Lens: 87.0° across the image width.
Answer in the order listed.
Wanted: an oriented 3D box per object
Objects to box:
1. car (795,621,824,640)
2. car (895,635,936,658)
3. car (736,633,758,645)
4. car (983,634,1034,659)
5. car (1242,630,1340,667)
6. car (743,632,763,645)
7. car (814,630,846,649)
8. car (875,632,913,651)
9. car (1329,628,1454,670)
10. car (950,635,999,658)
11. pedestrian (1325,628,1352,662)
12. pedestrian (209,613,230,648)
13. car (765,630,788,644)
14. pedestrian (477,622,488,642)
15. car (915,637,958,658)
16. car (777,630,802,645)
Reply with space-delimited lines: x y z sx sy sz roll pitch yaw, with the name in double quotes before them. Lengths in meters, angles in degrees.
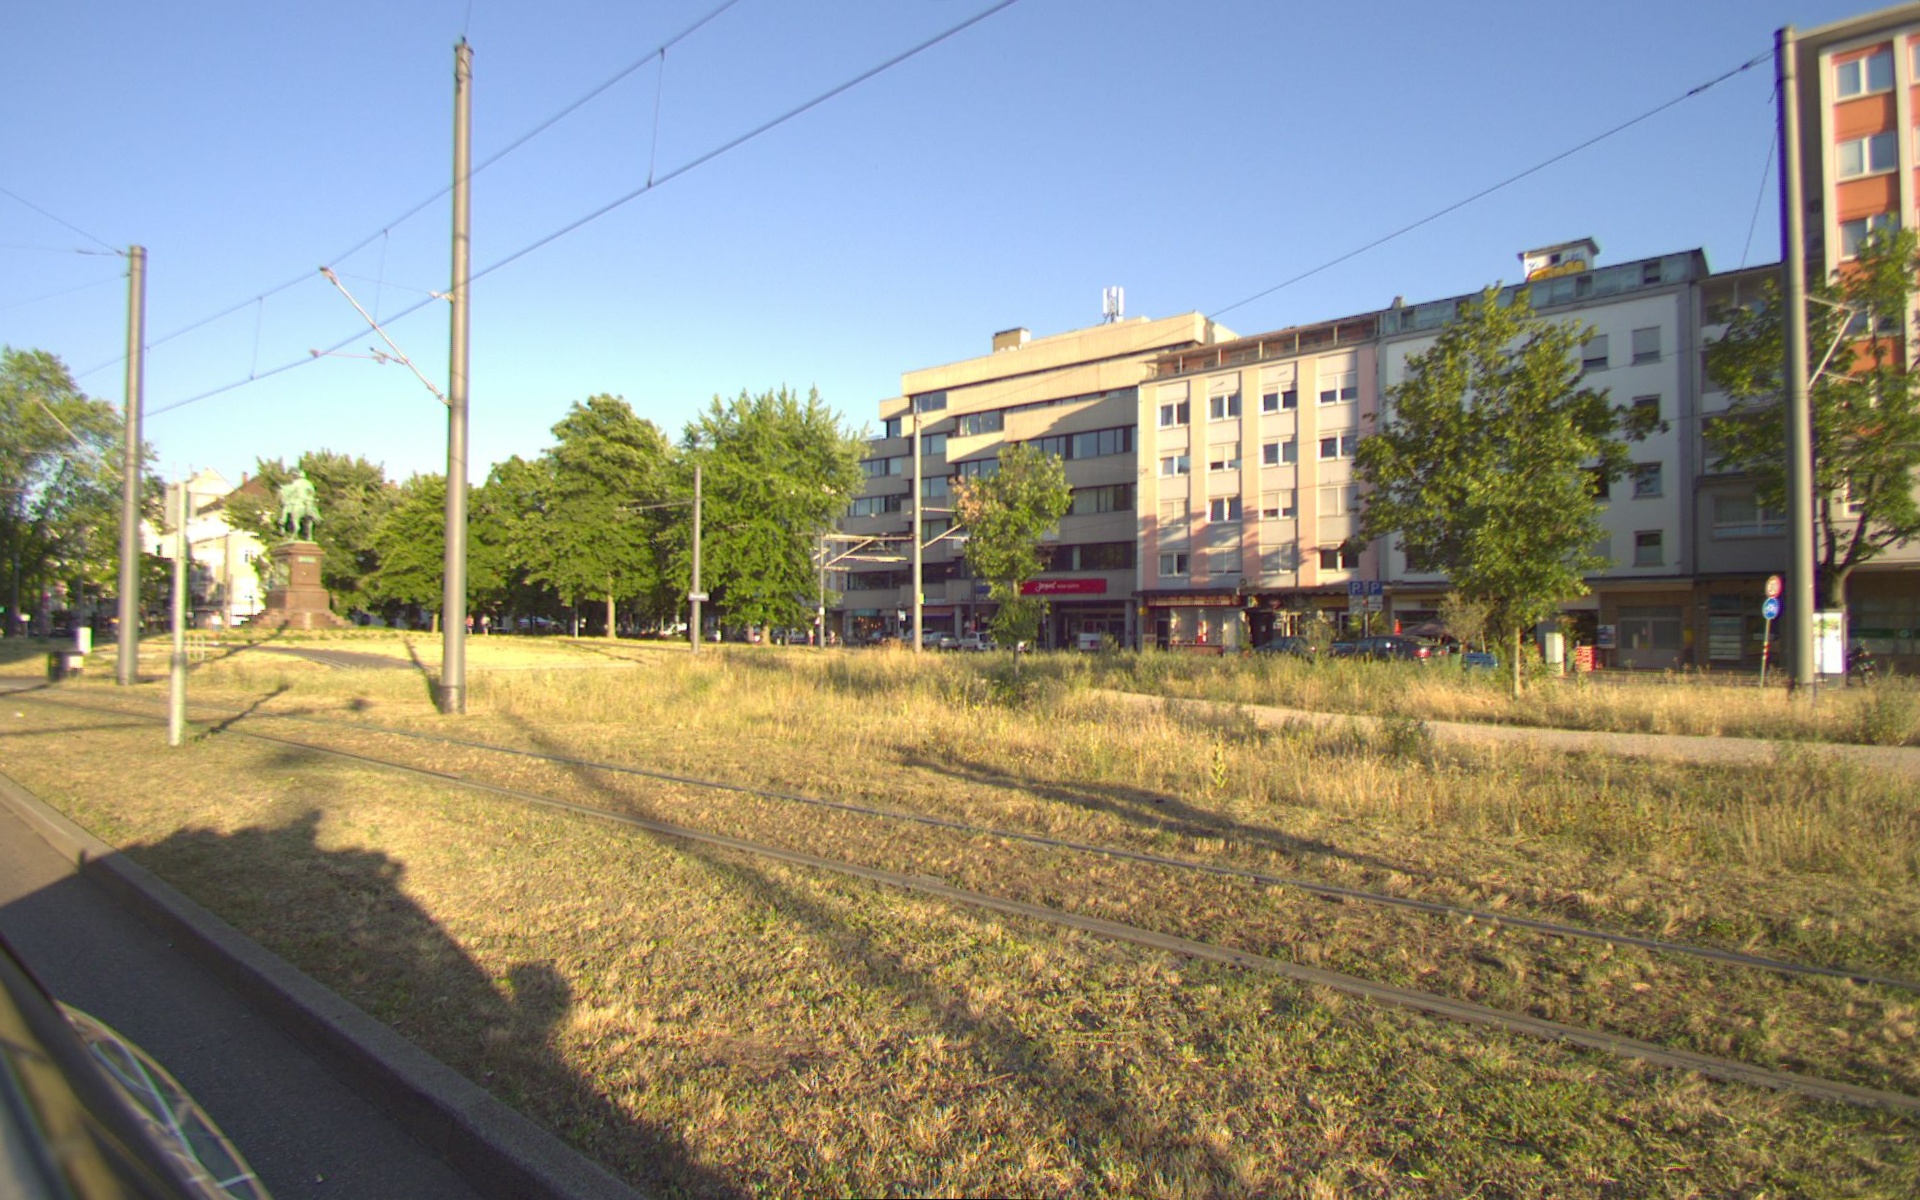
"car" -16.033 3.252 107.743 1.729 1.959 4.222 1 -3 -27
"car" -3.641 3.801 82.328 1.729 1.808 4.222 1 -3 -27
"car" -25.067 4.593 119.065 1.681 1.401 4.013 1 -3 -25
"car" 3.161 3.079 66.950 1.729 1.564 4.013 0 -3 -24
"car" 14.425 2.133 44.314 1.729 1.538 4.012 1 -3 -27
"car" -26.937 5.001 131.542 1.766 1.592 4.013 0 -3 -23
"car" -13.090 4.014 101.811 1.906 1.808 4.222 1 -3 -27
"car" -5.797 3.616 87.919 1.833 1.569 4.081 1 -3 -27
"car" 16.691 1.902 39.349 1.729 1.538 4.305 1 -3 -27
"car" 0.992 3.334 71.562 1.729 1.564 4.012 1 -3 -27
"pedestrian" 17.456 2.064 46.667 0.852 1.540 1.107 -3 -4 38
"pedestrian" -36.060 1.499 49.283 0.831 1.703 0.472 -1 -3 26
"car" -21.791 4.421 120.040 1.766 1.592 4.013 0 -3 -23
"pedestrian" -38.573 2.572 81.758 0.553 1.593 0.611 -3 -4 42
"car" -1.808 3.633 76.898 1.729 1.564 4.012 1 -3 -27
"car" -19.399 4.292 115.085 1.729 1.676 4.012 1 -3 -27
